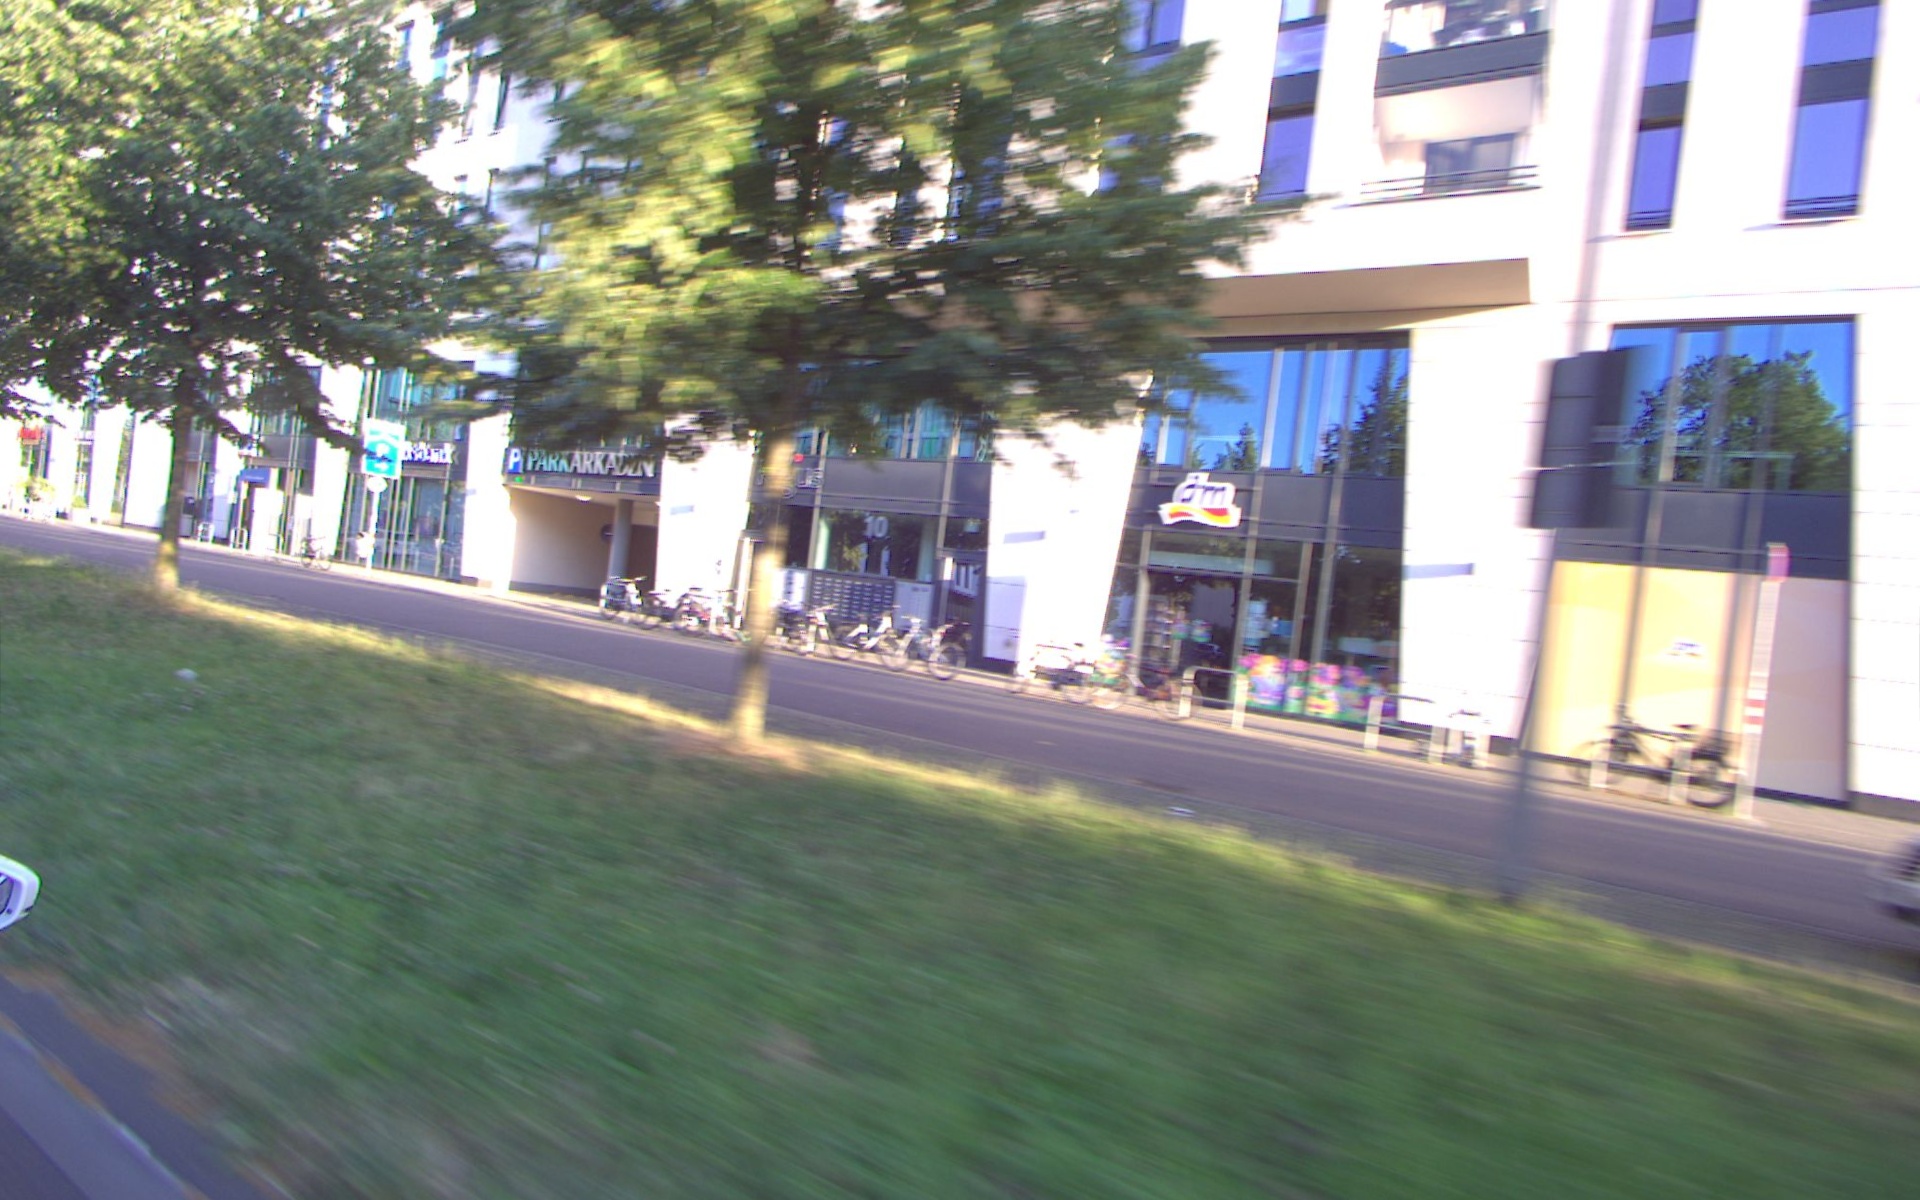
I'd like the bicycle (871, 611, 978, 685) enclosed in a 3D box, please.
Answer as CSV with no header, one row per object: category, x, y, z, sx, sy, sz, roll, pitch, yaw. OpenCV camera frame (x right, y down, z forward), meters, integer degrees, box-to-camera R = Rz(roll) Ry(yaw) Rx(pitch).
bicycle,-0.652,0.853,18.075,1.826,1.075,0.533,7,2,32

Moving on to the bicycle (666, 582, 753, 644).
bicycle,-5.269,0.259,21.122,1.826,1.074,0.534,7,0,32

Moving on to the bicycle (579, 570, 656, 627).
bicycle,-7.735,-0.034,22.672,1.826,1.075,0.533,7,2,32

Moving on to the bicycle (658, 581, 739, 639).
bicycle,-5.756,0.210,22.115,1.826,1.075,0.533,7,2,32

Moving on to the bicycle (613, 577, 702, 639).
bicycle,-6.321,0.160,20.990,1.748,1.075,0.534,7,2,22

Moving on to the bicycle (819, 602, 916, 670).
bicycle,-1.813,0.692,19.498,1.826,1.075,0.533,7,2,32

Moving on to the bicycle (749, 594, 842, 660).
bicycle,-3.242,0.523,19.758,1.826,1.075,0.533,7,2,32

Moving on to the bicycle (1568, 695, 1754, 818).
bicycle,8.694,1.916,12.575,1.751,1.179,0.538,7,3,32

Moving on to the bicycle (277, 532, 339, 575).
bicycle,-19.245,-1.378,29.670,2.021,1.051,0.653,7,0,32

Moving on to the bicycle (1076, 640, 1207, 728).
bicycle,2.785,1.272,15.452,1.822,1.075,0.534,7,2,19

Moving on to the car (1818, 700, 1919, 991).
car,7.562,1.630,4.901,4.744,1.519,1.811,7,0,31

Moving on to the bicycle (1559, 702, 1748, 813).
bicycle,8.877,1.998,12.956,1.822,1.075,0.534,7,2,19

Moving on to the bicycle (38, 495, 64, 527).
bicycle,-36.126,-3.557,39.985,1.808,1.139,0.569,8,3,43

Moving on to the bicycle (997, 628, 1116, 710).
bicycle,1.580,1.118,16.643,1.826,1.075,0.533,7,2,32
